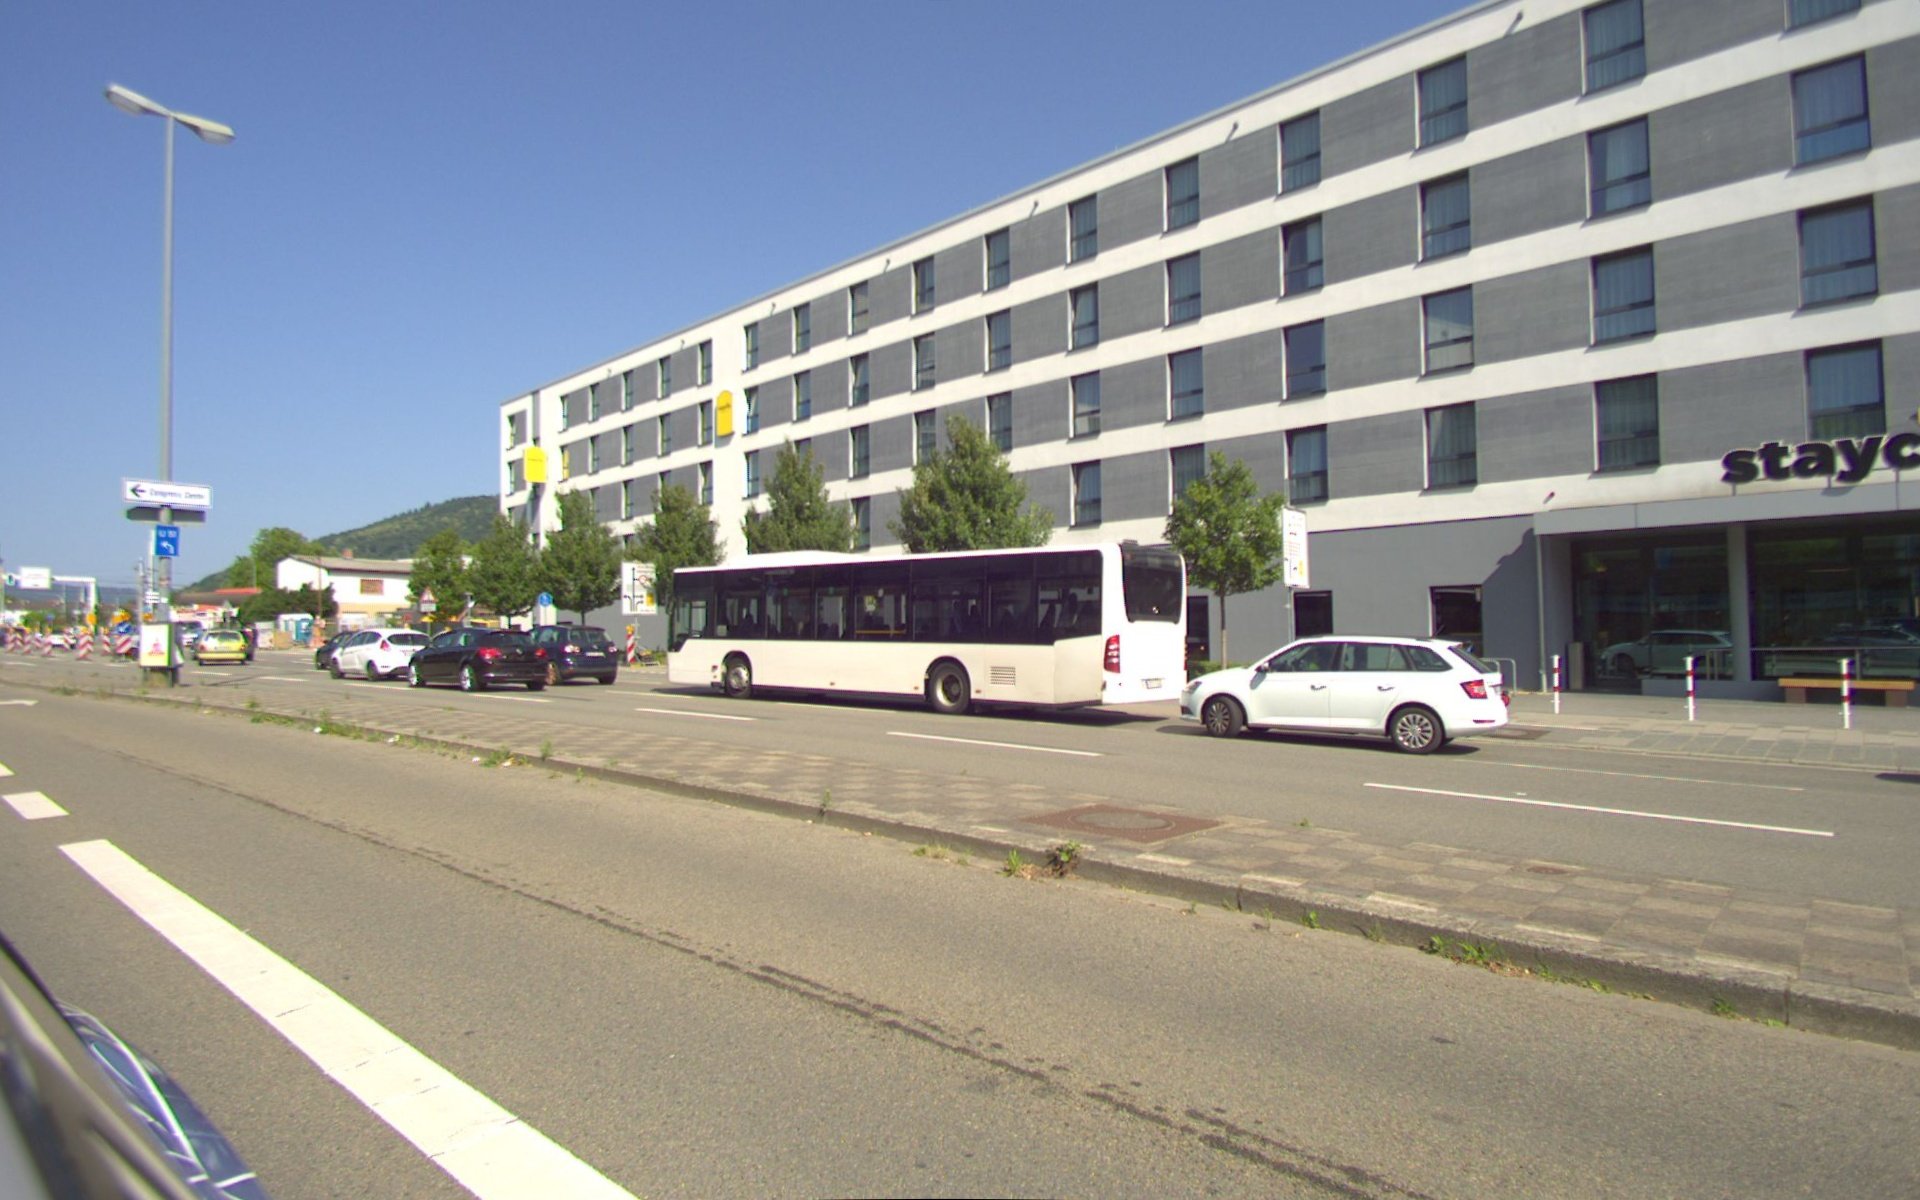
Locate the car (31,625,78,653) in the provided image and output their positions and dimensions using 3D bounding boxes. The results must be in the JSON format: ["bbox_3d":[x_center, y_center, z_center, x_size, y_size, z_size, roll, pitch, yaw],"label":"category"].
[{"bbox_3d":[-66.616,2.848,74.463,3.996,2.029,1.973,-2,-3,40],"label":"car"}]

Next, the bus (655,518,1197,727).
[{"bbox_3d":[-1.409,0.502,19.965,11.966,3.102,2.710,-1,-4,40],"label":"bus"}]

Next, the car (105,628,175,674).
[{"bbox_3d":[-39.689,2.440,48.943,3.998,2.029,1.973,-1,0,41],"label":"car"}]

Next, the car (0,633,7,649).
[{"bbox_3d":[-80.654,3.399,83.878,3.932,1.346,1.793,-1,-2,37],"label":"car"}]

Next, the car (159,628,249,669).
[{"bbox_3d":[-30.950,1.941,41.367,4.888,1.534,1.973,-2,-2,41],"label":"car"}]

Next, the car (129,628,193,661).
[{"bbox_3d":[-44.851,2.455,56.783,4.888,1.725,1.973,-2,-2,41],"label":"car"}]

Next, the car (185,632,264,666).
[{"bbox_3d":[-34.752,2.270,47.751,4.888,1.534,1.973,-2,-2,41],"label":"car"}]

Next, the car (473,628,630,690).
[{"bbox_3d":[-11.211,1.548,27.603,4.888,1.534,1.973,-2,-2,41],"label":"car"}]

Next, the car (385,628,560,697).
[{"bbox_3d":[-11.705,1.410,24.154,4.888,1.443,1.973,-1,-2,40],"label":"car"}]

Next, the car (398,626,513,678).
[{"bbox_3d":[-16.063,1.694,32.162,3.974,1.550,1.835,-3,-5,40],"label":"car"}]

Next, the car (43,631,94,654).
[{"bbox_3d":[-61.703,2.933,70.026,3.995,1.550,1.974,-1,-2,39],"label":"car"}]

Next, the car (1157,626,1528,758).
[{"bbox_3d":[5.156,1.162,13.857,4.403,1.497,1.976,-1,-4,36],"label":"car"}]

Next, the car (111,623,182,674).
[{"bbox_3d":[-35.097,2.051,43.632,4.162,2.029,1.658,-1,0,41],"label":"car"}]

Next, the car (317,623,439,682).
[{"bbox_3d":[-16.202,1.402,28.099,3.998,1.462,1.741,-1,0,42],"label":"car"}]
